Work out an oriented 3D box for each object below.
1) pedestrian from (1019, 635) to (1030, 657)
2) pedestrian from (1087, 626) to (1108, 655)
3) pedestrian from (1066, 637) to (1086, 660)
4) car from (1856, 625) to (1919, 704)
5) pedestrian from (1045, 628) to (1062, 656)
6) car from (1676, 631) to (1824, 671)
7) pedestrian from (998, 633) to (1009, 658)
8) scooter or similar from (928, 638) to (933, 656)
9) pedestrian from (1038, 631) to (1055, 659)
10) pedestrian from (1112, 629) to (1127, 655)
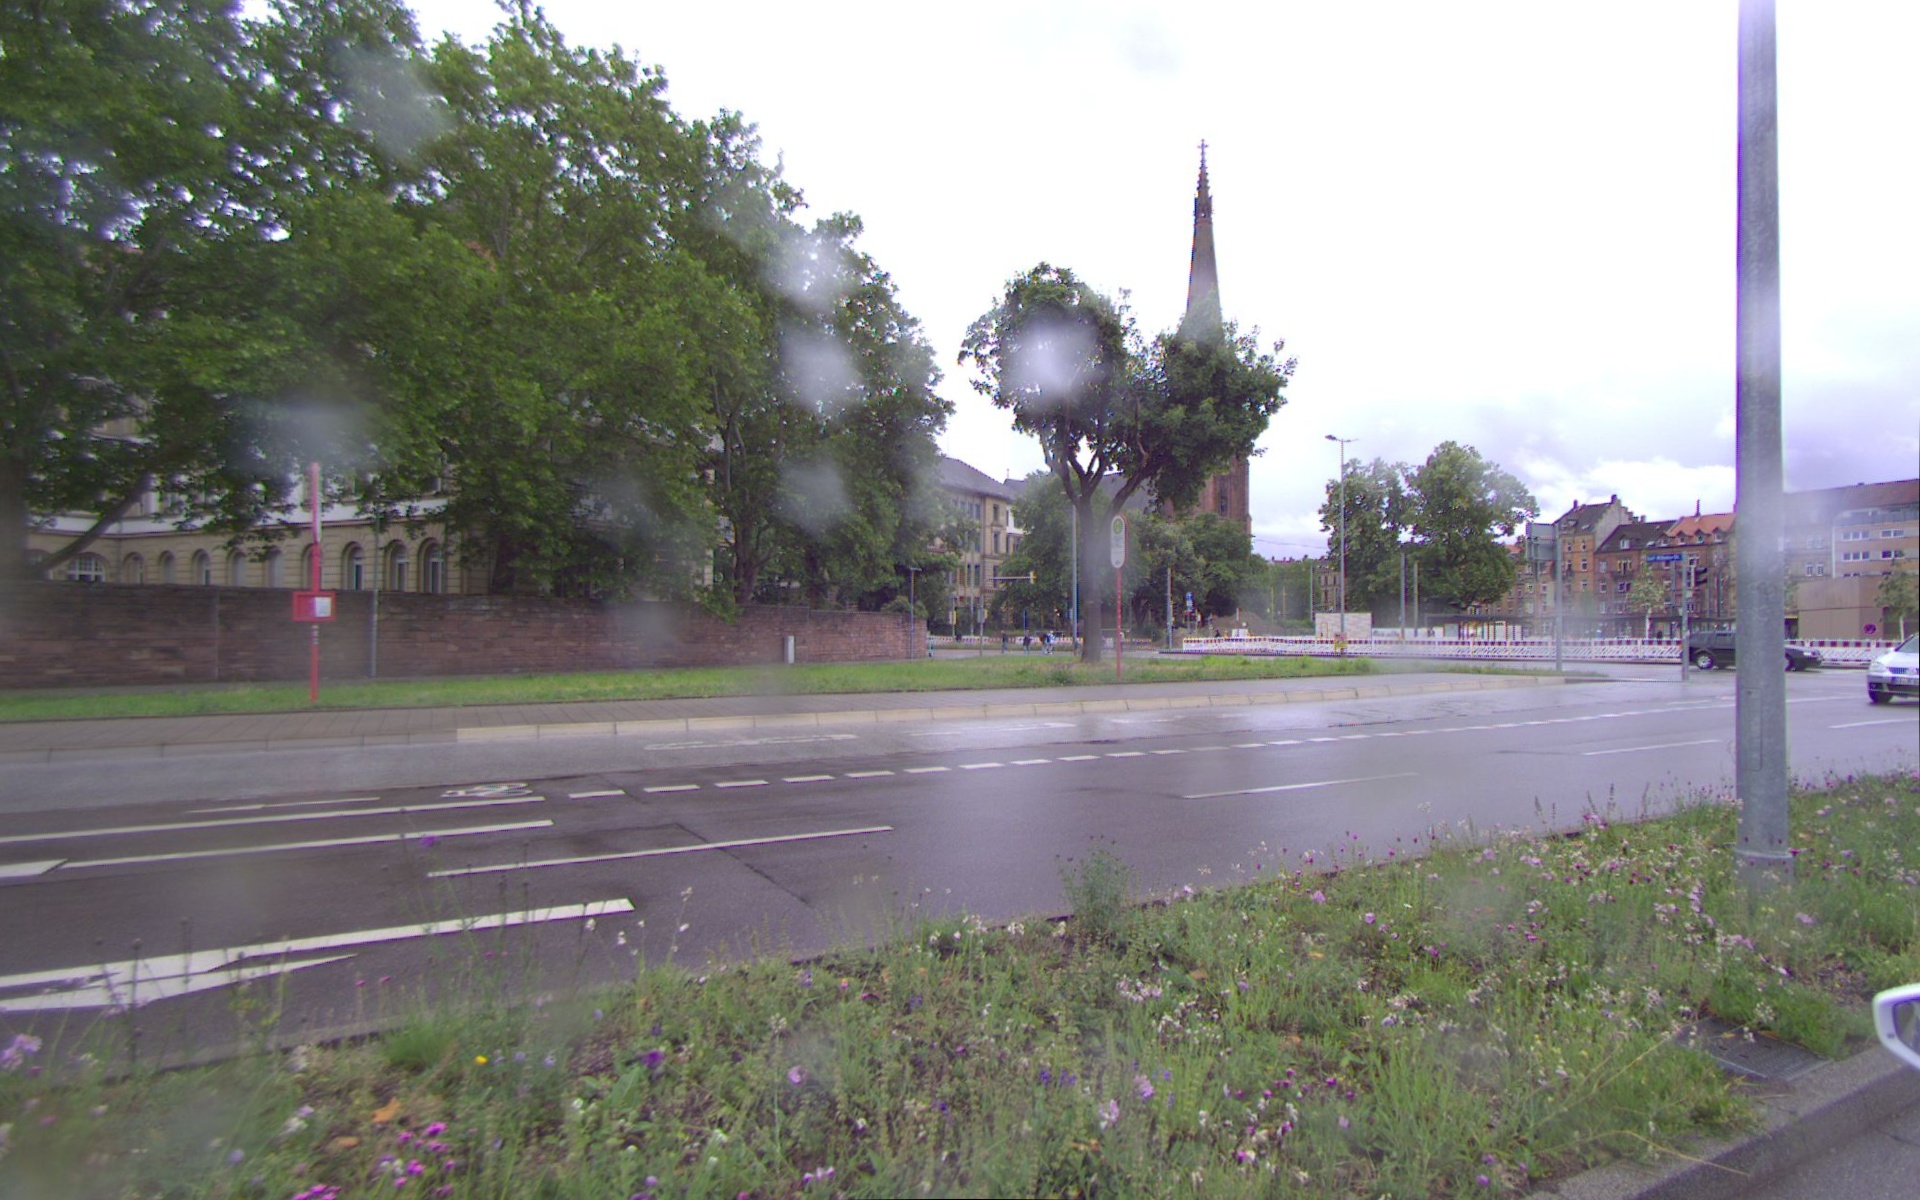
[{"bbox_3d":[4.447,3.173,69.079,0.661,1.520,0.775,0,-1,10],"label":"pedestrian"},{"bbox_3d":[9.873,2.916,72.025,0.982,2.040,1.304,-1,-1,38],"label":"pedestrian"},{"bbox_3d":[7.929,3.289,68.728,0.918,1.560,1.056,-1,-1,38],"label":"pedestrian"},{"bbox_3d":[19.114,1.196,19.174,4.105,1.423,1.673,1,-2,-28],"label":"car"},{"bbox_3d":[6.831,3.053,73.162,0.944,2.040,0.853,1,-1,-26],"label":"pedestrian"},{"bbox_3d":[30.164,1.911,38.477,1.600,1.421,4.169,1,-2,-32],"label":"car"},{"bbox_3d":[3.319,3.425,76.085,0.595,1.915,0.601,1,-1,-32],"label":"pedestrian"},{"bbox_3d":[-1.818,2.897,61.899,0.273,1.096,1.078,0,-1,0],"label":"scooter or similar"},{"bbox_3d":[6.373,3.312,73.905,0.944,2.040,0.853,1,-1,-26],"label":"pedestrian"},{"bbox_3d":[11.136,2.919,69.974,0.764,1.801,0.721,1,-1,-26],"label":"pedestrian"}]
